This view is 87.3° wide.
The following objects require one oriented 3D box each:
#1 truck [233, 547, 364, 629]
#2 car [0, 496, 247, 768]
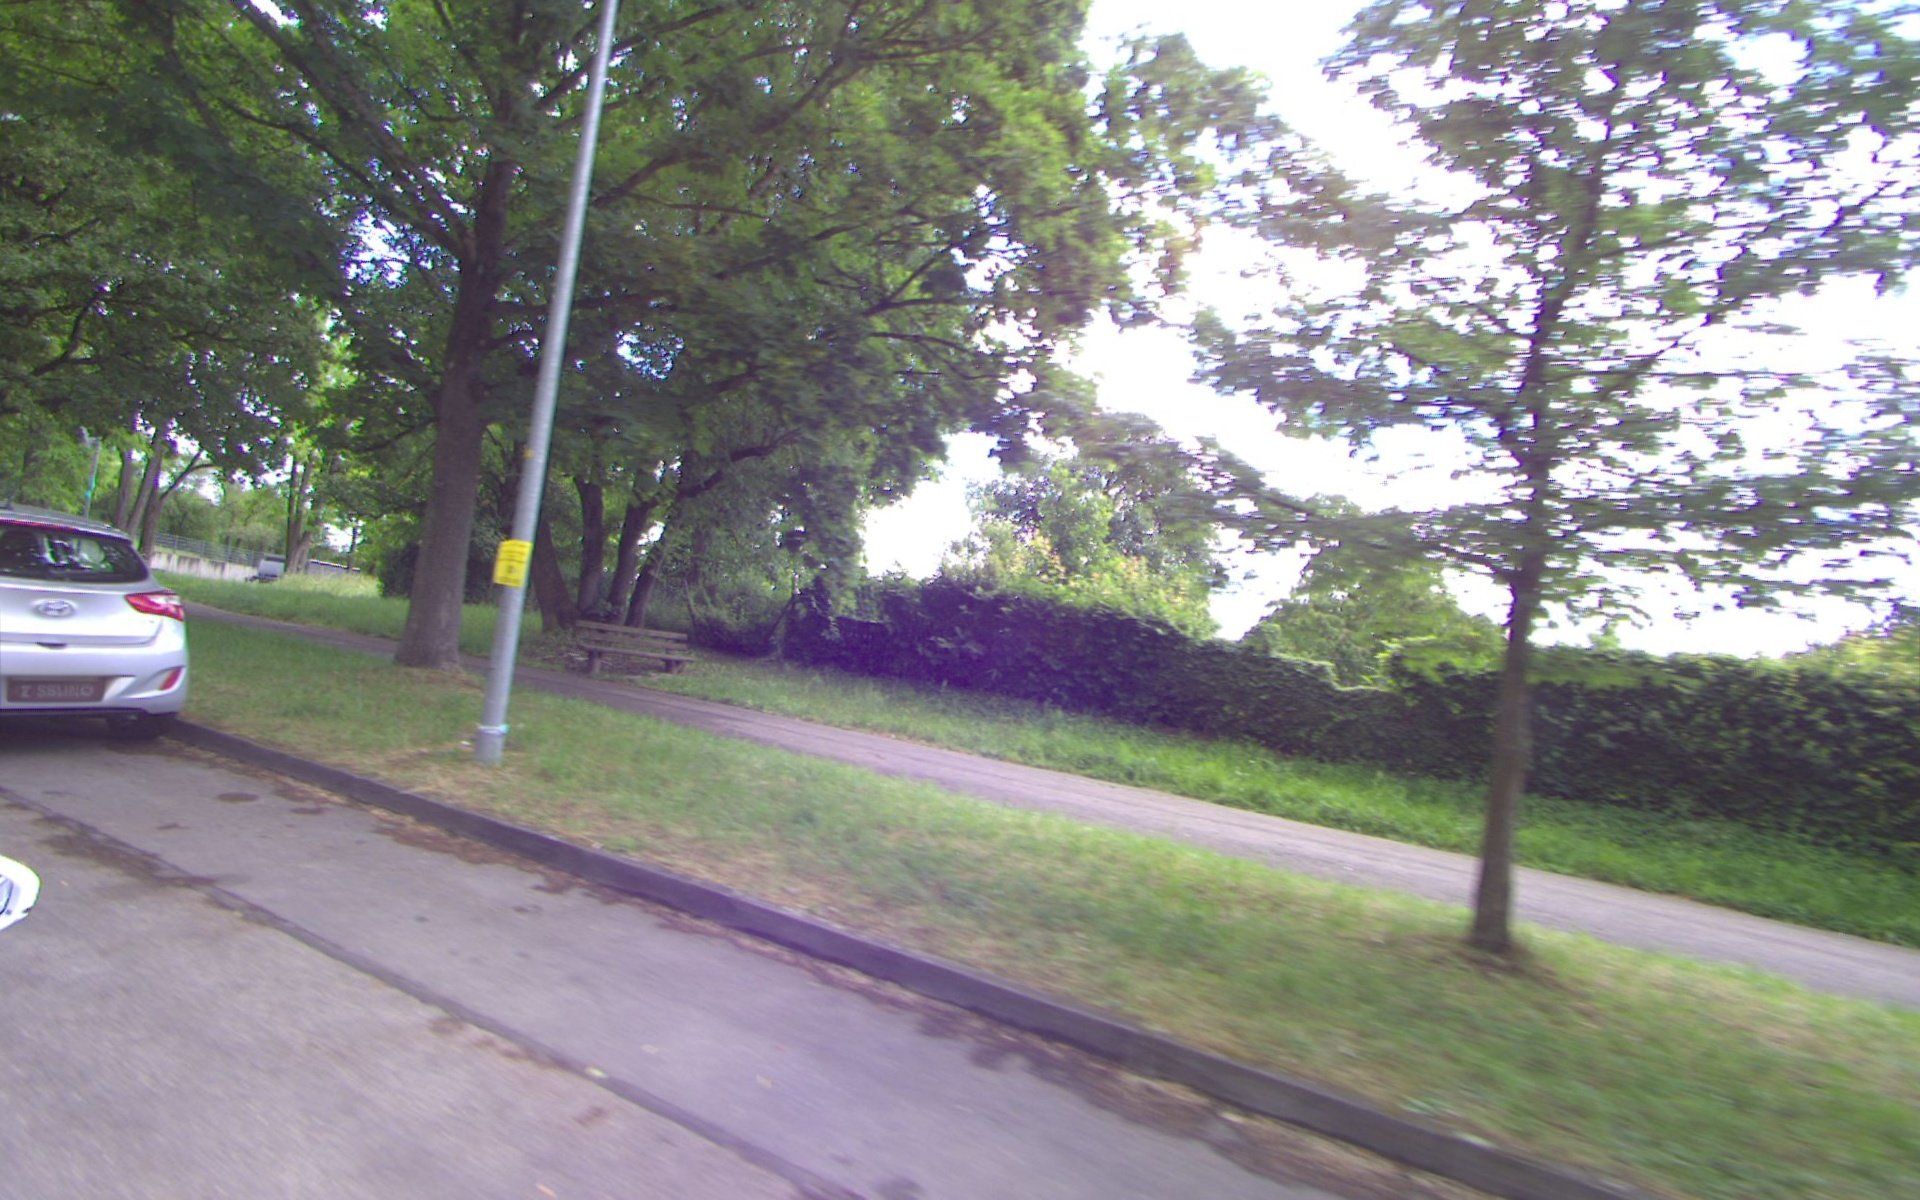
[{"bbox_3d":[-40.326,-0.551,61.817,2.652,4.039,9.572,7,-4,-10],"label":"truck"},{"bbox_3d":[-6.941,-0.014,6.647,3.988,1.494,1.907,7,-1,27],"label":"car"}]
